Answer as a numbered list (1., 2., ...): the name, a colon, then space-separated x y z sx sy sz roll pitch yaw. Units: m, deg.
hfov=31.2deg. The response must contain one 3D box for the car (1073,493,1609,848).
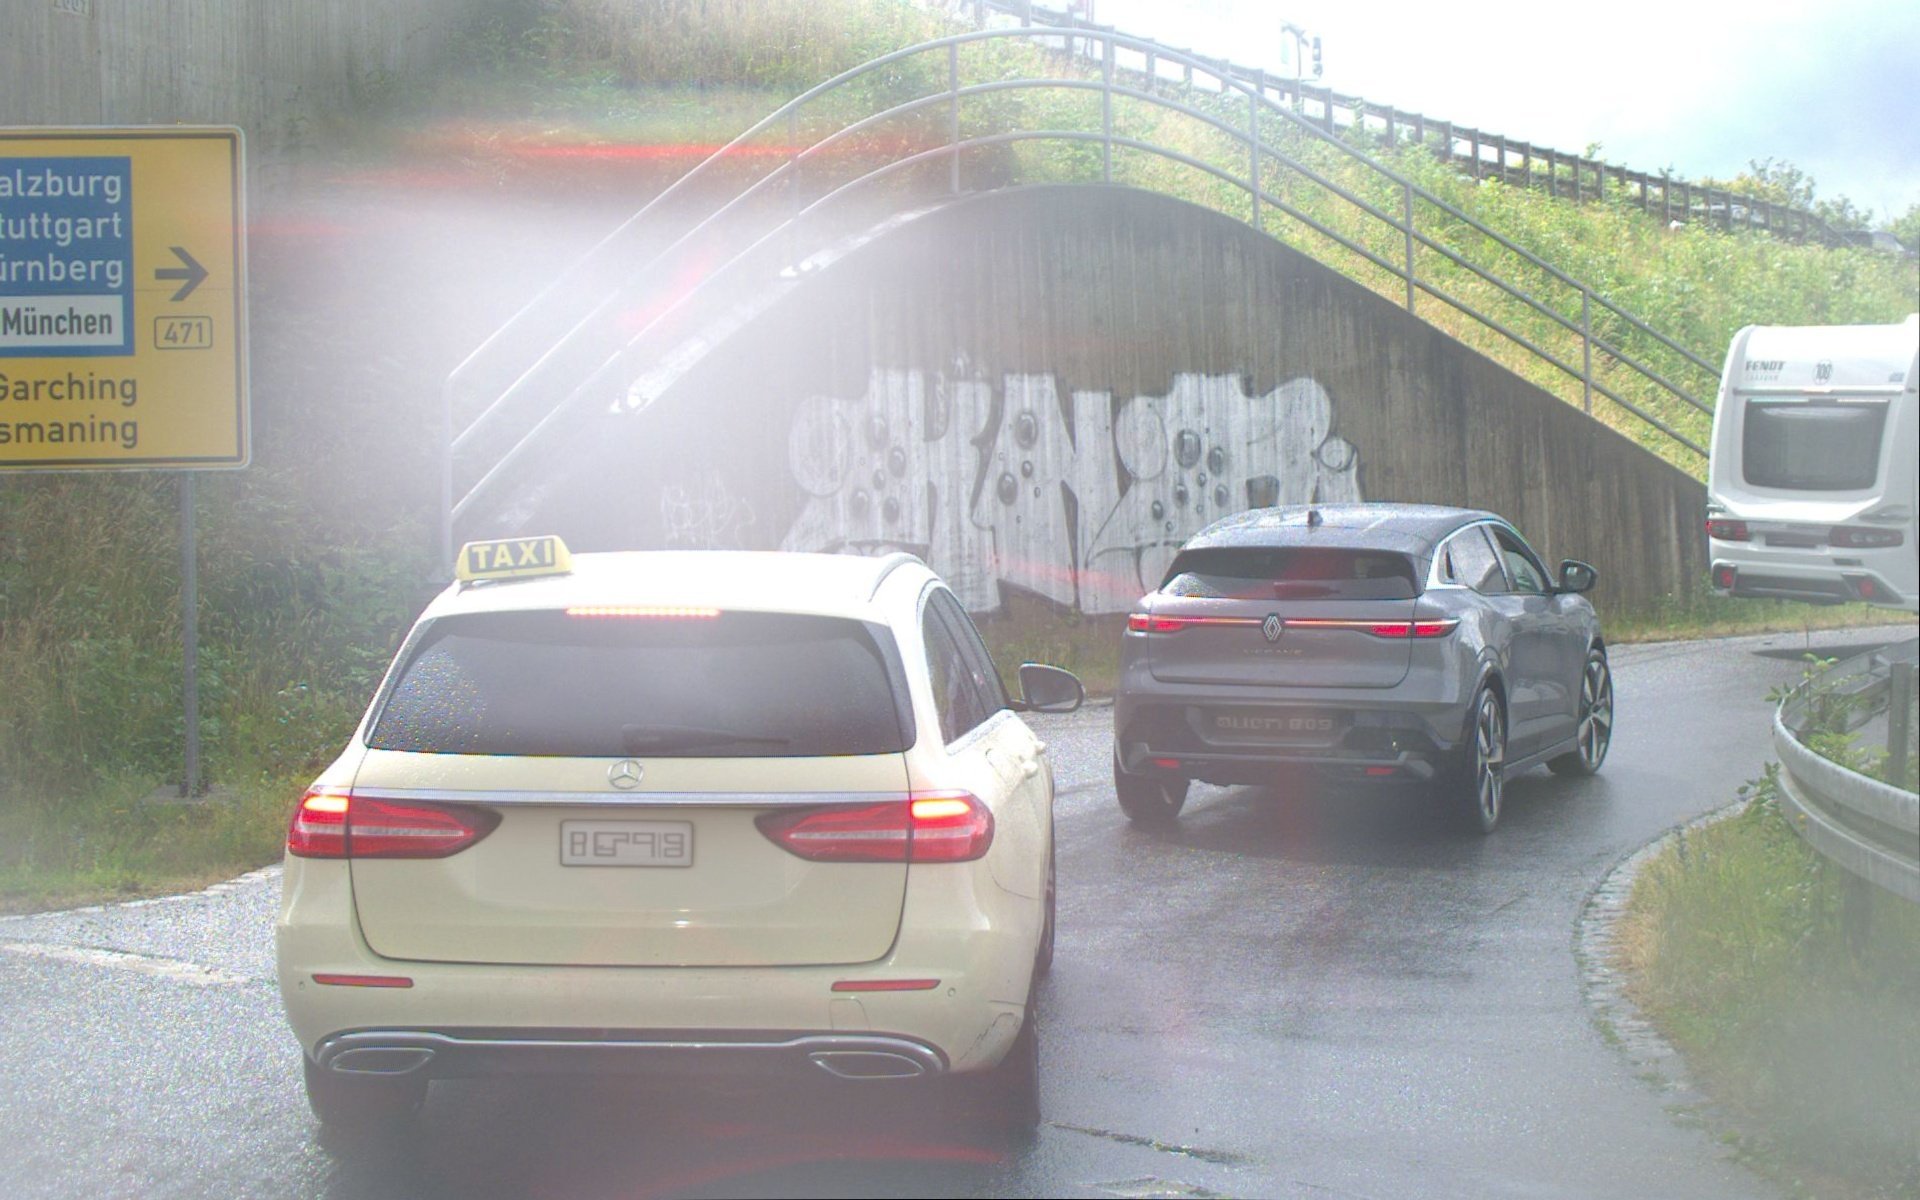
1. car: 2.031 0.243 17.261 1.720 1.519 3.996 1 2 21

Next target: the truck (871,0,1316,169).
1. truck: 2.215 -8.892 51.172 3.185 3.952 9.224 1 1 26

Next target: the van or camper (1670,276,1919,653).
1. van or camper: 8.796 -1.122 27.261 5.981 2.720 2.439 -2 4 -27

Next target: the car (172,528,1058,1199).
1. car: -0.692 0.558 9.824 1.916 1.502 4.596 0 1 2
